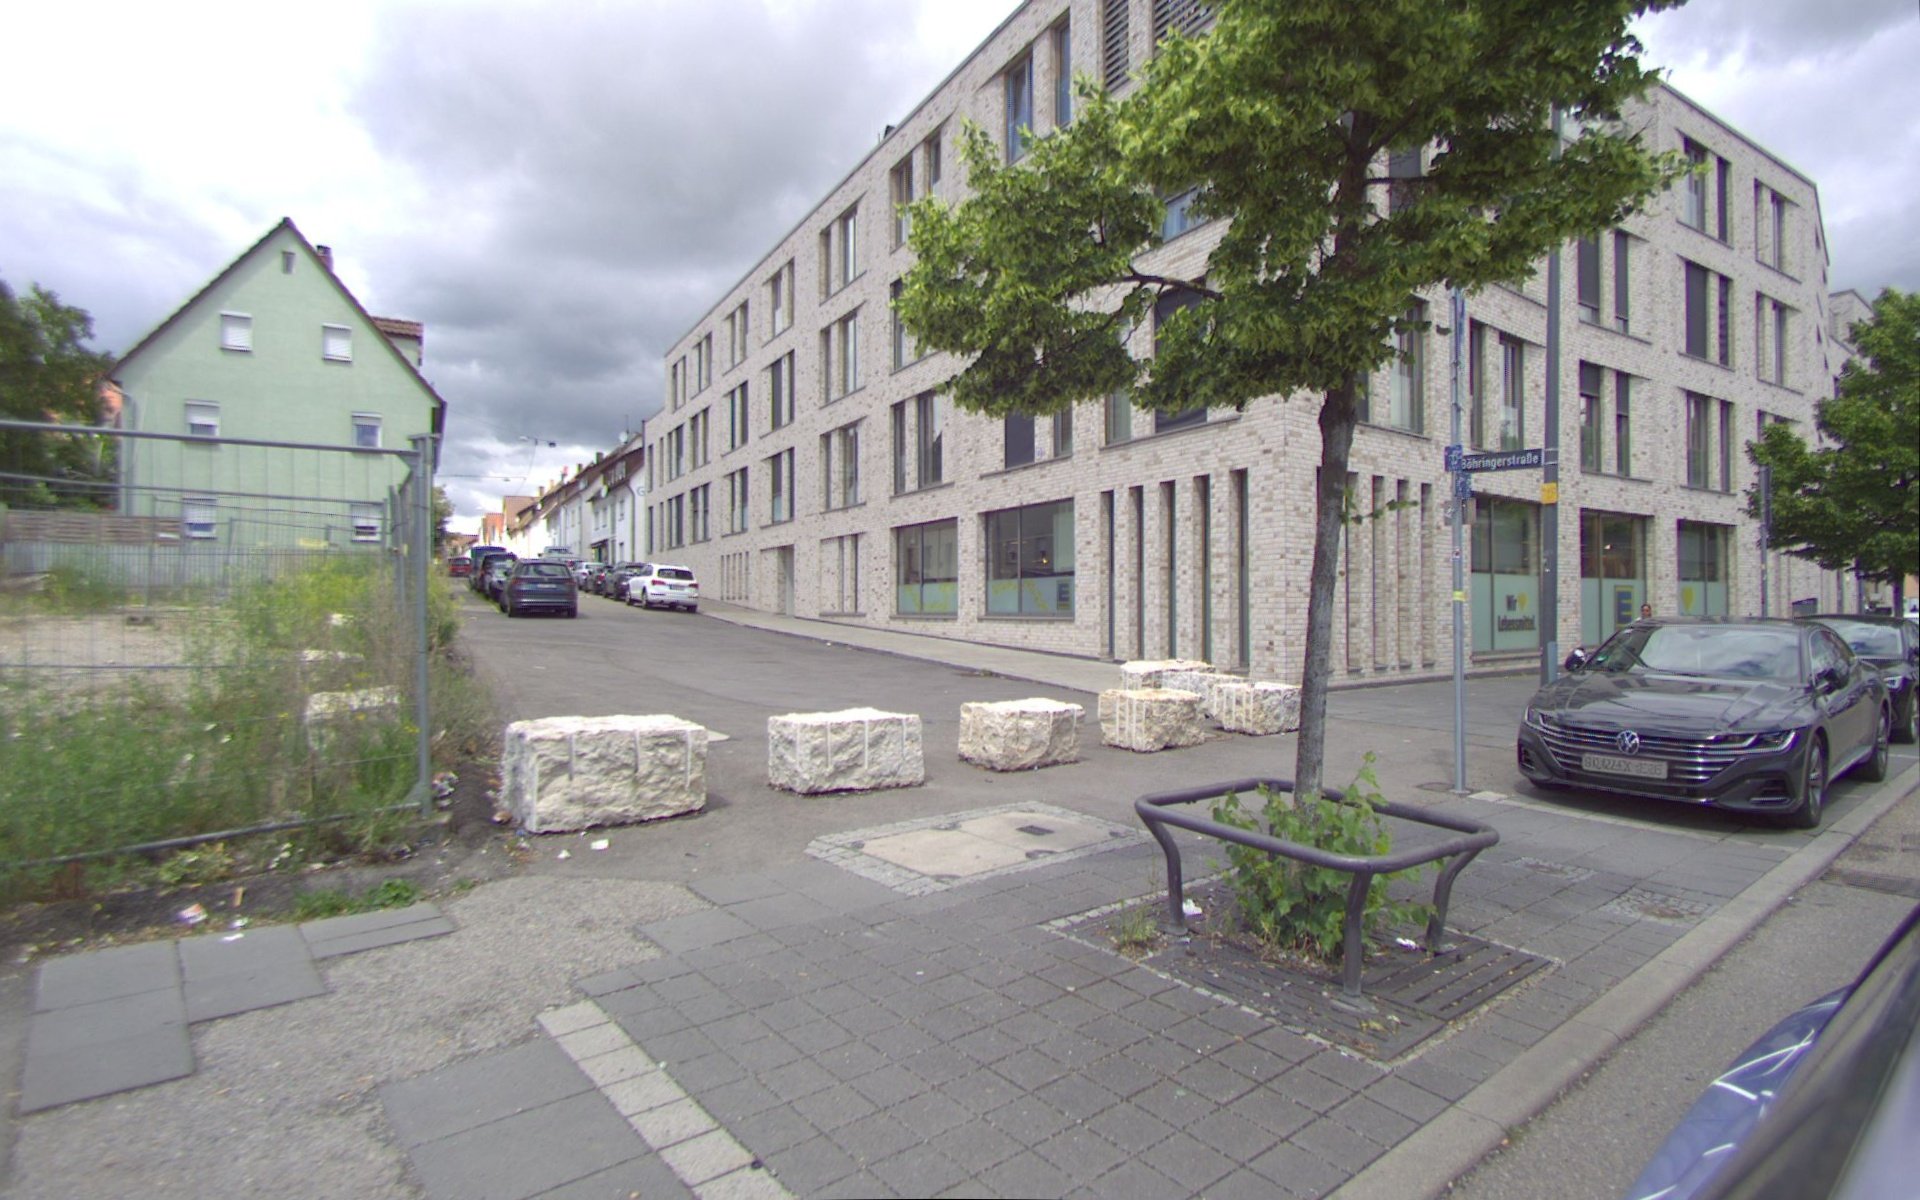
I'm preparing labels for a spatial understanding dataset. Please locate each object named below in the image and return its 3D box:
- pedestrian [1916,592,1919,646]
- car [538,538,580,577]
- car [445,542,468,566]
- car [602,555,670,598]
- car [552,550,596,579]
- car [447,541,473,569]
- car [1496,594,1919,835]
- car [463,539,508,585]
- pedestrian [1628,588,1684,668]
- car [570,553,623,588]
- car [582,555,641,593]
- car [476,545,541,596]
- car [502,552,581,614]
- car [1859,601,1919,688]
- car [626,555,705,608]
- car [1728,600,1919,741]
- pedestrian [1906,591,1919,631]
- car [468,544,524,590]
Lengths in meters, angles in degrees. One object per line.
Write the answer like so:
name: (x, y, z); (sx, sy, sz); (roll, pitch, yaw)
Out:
pedestrian: (32.425, 0.643, 33.773); (0.755, 1.788, 0.723); (0, 1, 44)
car: (-26.937, -2.859, 67.852); (1.959, 2.361, 5.083); (4, 1, -28)
car: (-45.982, -4.183, 92.423); (1.788, 2.096, 4.007); (2, 1, -28)
car: (-13.606, -1.008, 42.368); (1.959, 1.571, 4.007); (4, 1, -28)
car: (-23.741, -2.181, 62.149); (1.959, 1.571, 4.007); (4, 1, -28)
car: (-40.732, -3.665, 82.442); (1.788, 2.096, 4.007); (2, 1, -28)
car: (6.456, 0.713, 8.513); (4.561, 1.469, 1.869); (0, 1, -40)
car: (-23.339, -1.879, 49.686); (1.788, 2.096, 4.007); (2, 1, -28)
pedestrian: (13.286, 0.520, 19.327); (0.775, 1.491, 0.609); (1, 0, -32)
car: (-18.682, -1.528, 51.954); (1.959, 1.571, 4.007); (4, 1, -28)
car: (-16.373, -1.248, 47.405); (1.959, 1.571, 4.007); (4, 1, -28)
car: (-16.994, -1.122, 38.017); (1.959, 1.771, 4.007); (2, 1, -27)
car: (-12.115, -0.541, 29.153); (1.830, 1.625, 4.270); (2, 2, -26)
car: (18.365, 0.795, 18.917); (3.728, 1.502, 1.697); (0, 1, -38)
car: (-10.658, -0.703, 36.429); (1.831, 1.625, 4.269); (4, 1, -28)
car: (11.375, 0.761, 12.802); (4.071, 1.479, 1.697); (0, 1, -39)
pedestrian: (42.144, 0.481, 44.392); (0.620, 1.714, 0.659); (0, 0, 1)
car: (-19.875, -1.418, 43.261); (1.959, 1.771, 4.007); (2, 1, -28)
